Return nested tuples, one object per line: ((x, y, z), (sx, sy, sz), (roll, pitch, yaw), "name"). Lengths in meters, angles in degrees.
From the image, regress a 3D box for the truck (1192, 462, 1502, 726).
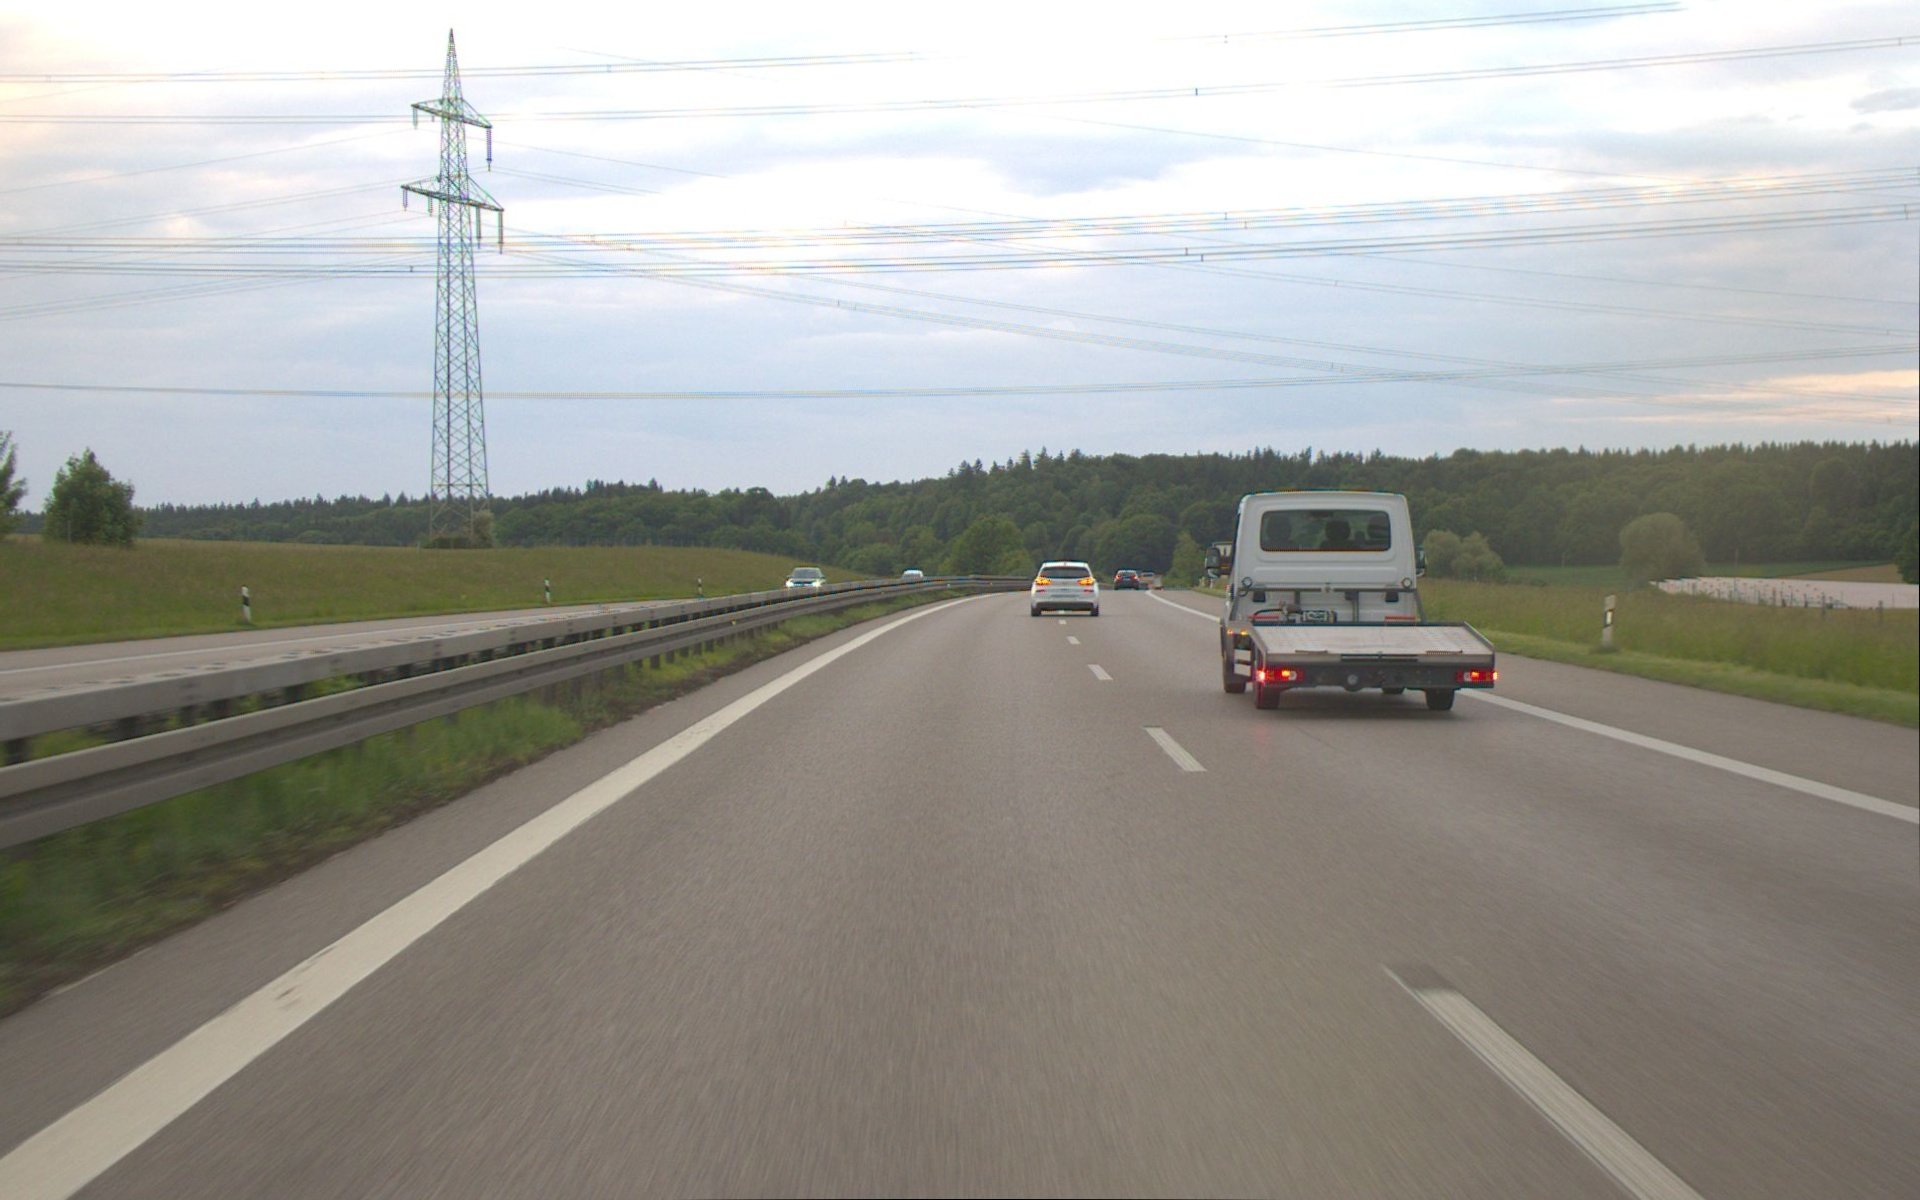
((3.759, -0.092, 34.938), (2.171, 2.352, 7.697), (1, 1, -1), "truck")

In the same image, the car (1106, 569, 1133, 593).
((11.629, -1.370, 250.973), (1.952, 1.725, 4.080), (1, 1, 2), "car")

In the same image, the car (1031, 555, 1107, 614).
((2.923, -0.421, 91.890), (1.952, 1.526, 4.080), (1, 1, 2), "car")

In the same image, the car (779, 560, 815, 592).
((-8.688, -1.271, 183.689), (1.697, 1.658, 4.463), (1, 1, 0), "car")
